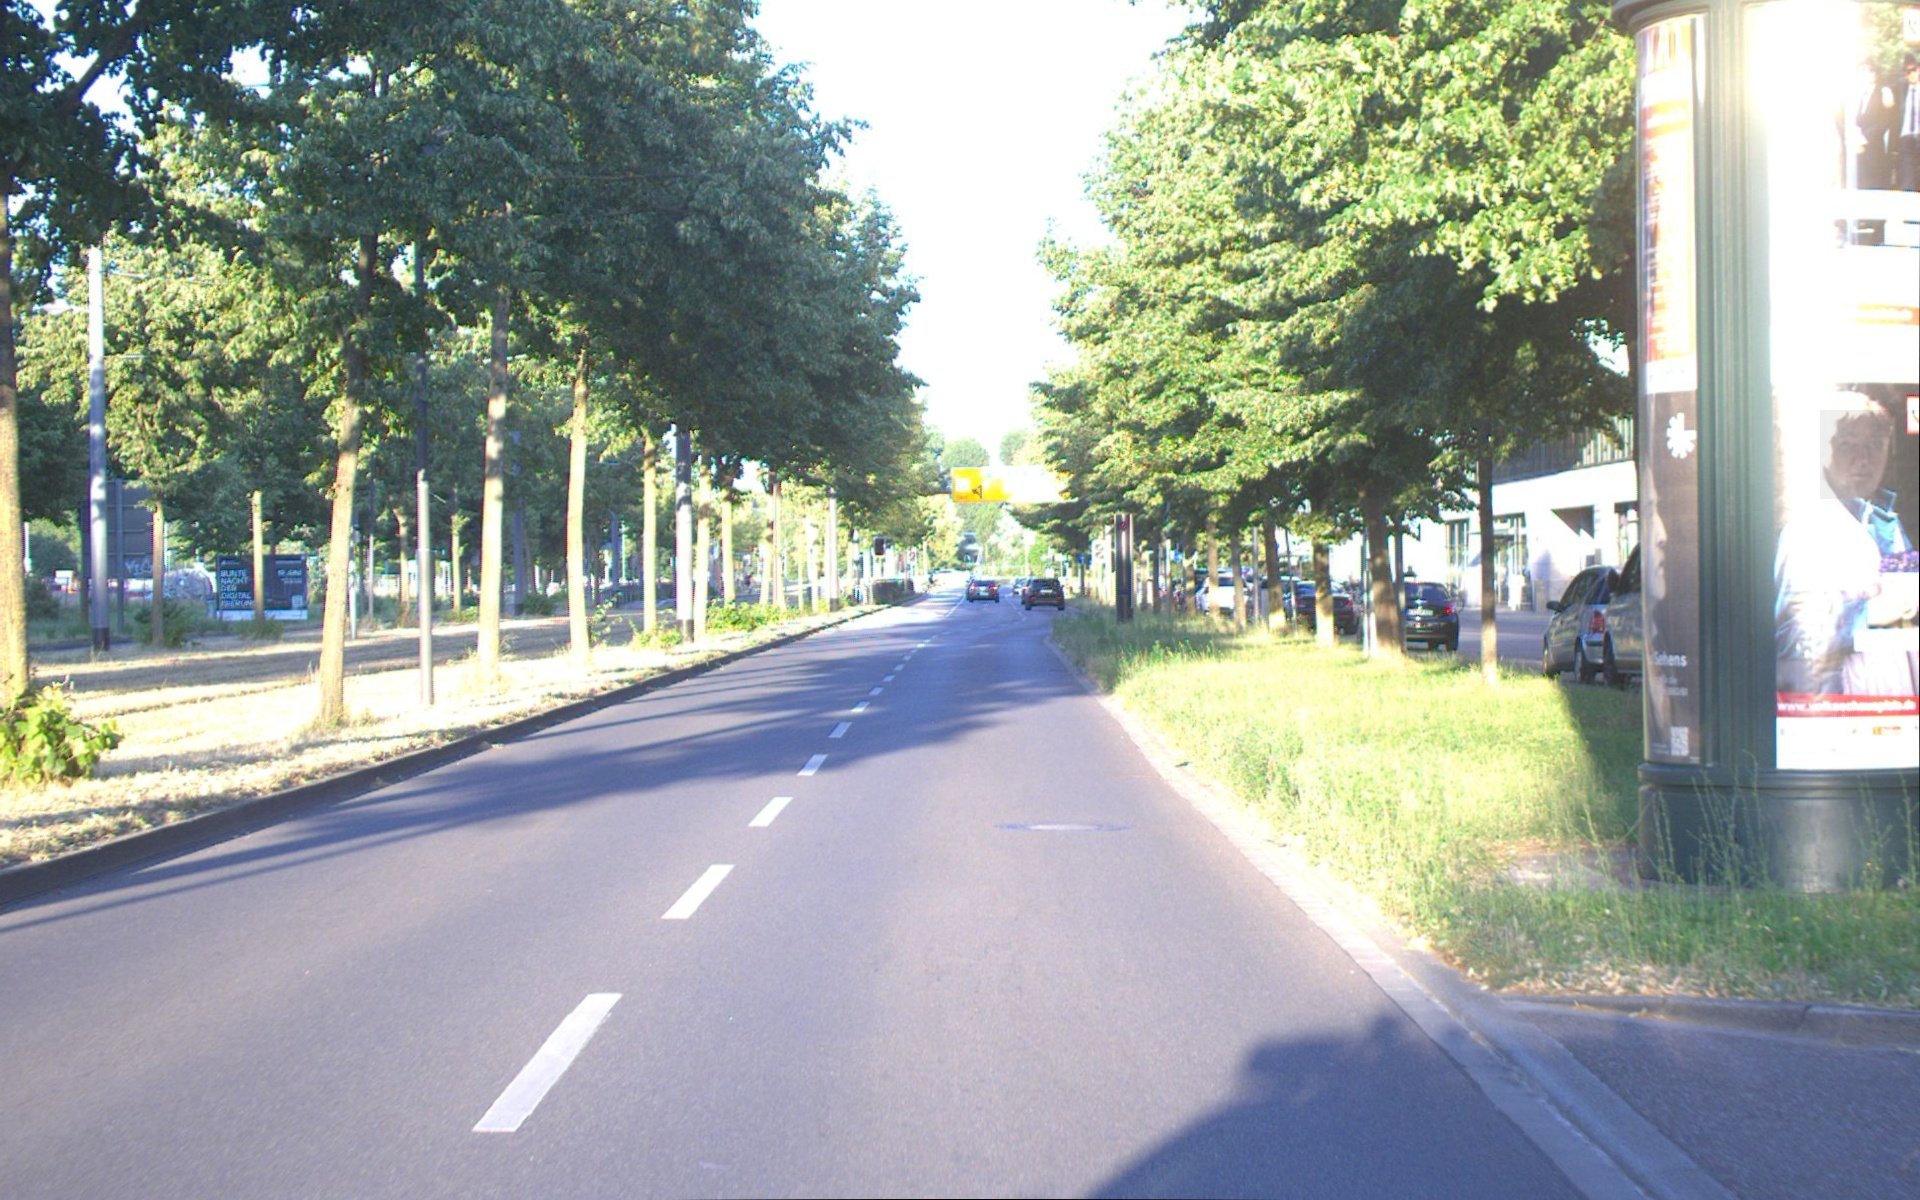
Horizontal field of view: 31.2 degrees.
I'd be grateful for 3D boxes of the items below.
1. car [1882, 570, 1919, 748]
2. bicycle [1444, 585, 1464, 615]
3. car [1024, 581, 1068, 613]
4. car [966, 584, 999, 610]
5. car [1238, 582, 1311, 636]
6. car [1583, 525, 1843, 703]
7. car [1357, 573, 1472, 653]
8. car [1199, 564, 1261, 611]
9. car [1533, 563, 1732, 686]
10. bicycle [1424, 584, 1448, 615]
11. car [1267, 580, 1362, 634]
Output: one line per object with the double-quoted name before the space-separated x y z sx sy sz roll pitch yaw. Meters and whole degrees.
"car" 9.018 0.510 27.313 1.917 1.491 5.041 0 0 -1
"bicycle" 16.982 -0.005 118.235 0.470 1.036 1.806 -1 0 1
"car" 4.007 -0.140 160.454 1.911 1.481 4.000 0 0 0
"car" 1.346 -0.177 205.105 1.911 1.481 4.000 0 0 0
"car" 9.188 0.250 100.669 1.709 1.510 3.759 2 0 0
"car" 8.890 0.143 41.002 1.986 1.982 4.932 0 0 0
"car" 9.222 0.236 70.015 1.780 1.489 4.000 3 1 1
"car" 9.807 -0.457 125.207 1.993 1.637 4.878 -1 0 1
"car" 8.987 0.301 46.272 1.838 1.565 4.061 0 0 0
"bicycle" 16.419 -0.018 118.517 0.594 1.036 1.892 -1 0 1
"car" 9.302 0.165 90.524 1.852 1.363 4.834 -1 0 -1
